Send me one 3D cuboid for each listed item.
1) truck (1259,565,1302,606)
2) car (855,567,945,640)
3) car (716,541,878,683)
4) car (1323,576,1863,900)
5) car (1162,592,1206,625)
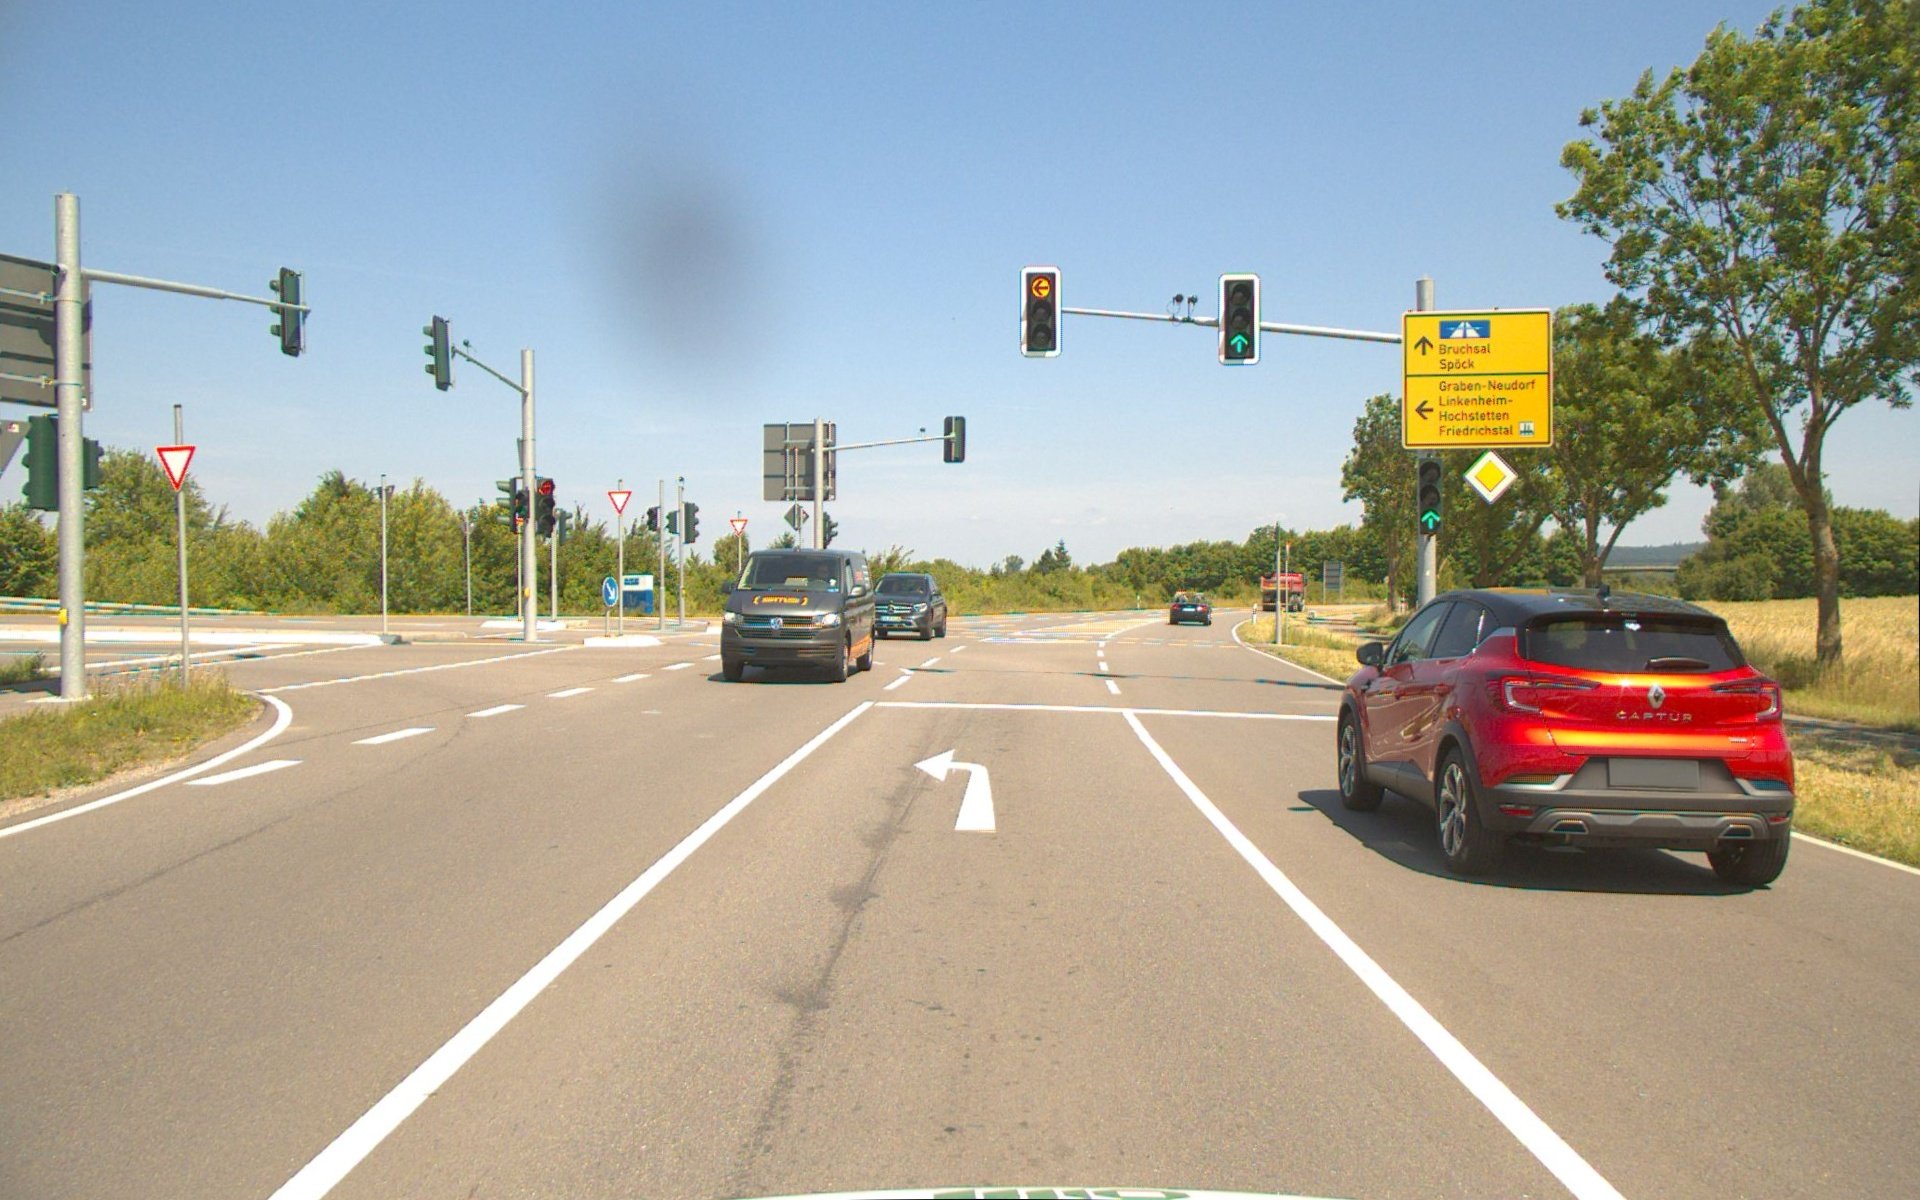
[{"bbox_3d":[25.666,-1.127,132.338,2.656,3.106,8.169,0,-1,16],"label":"truck"},{"bbox_3d":[-1.503,0.063,43.306,1.890,1.770,4.891,1,1,3],"label":"car"},{"bbox_3d":[-2.464,0.146,26.128,1.890,2.012,4.686,1,1,2],"label":"car"},{"bbox_3d":[3.657,0.693,10.506,1.784,1.579,4.450,1,0,1],"label":"car"},{"bbox_3d":[9.973,0.394,73.557,1.710,1.400,3.682,1,-1,11],"label":"car"}]
